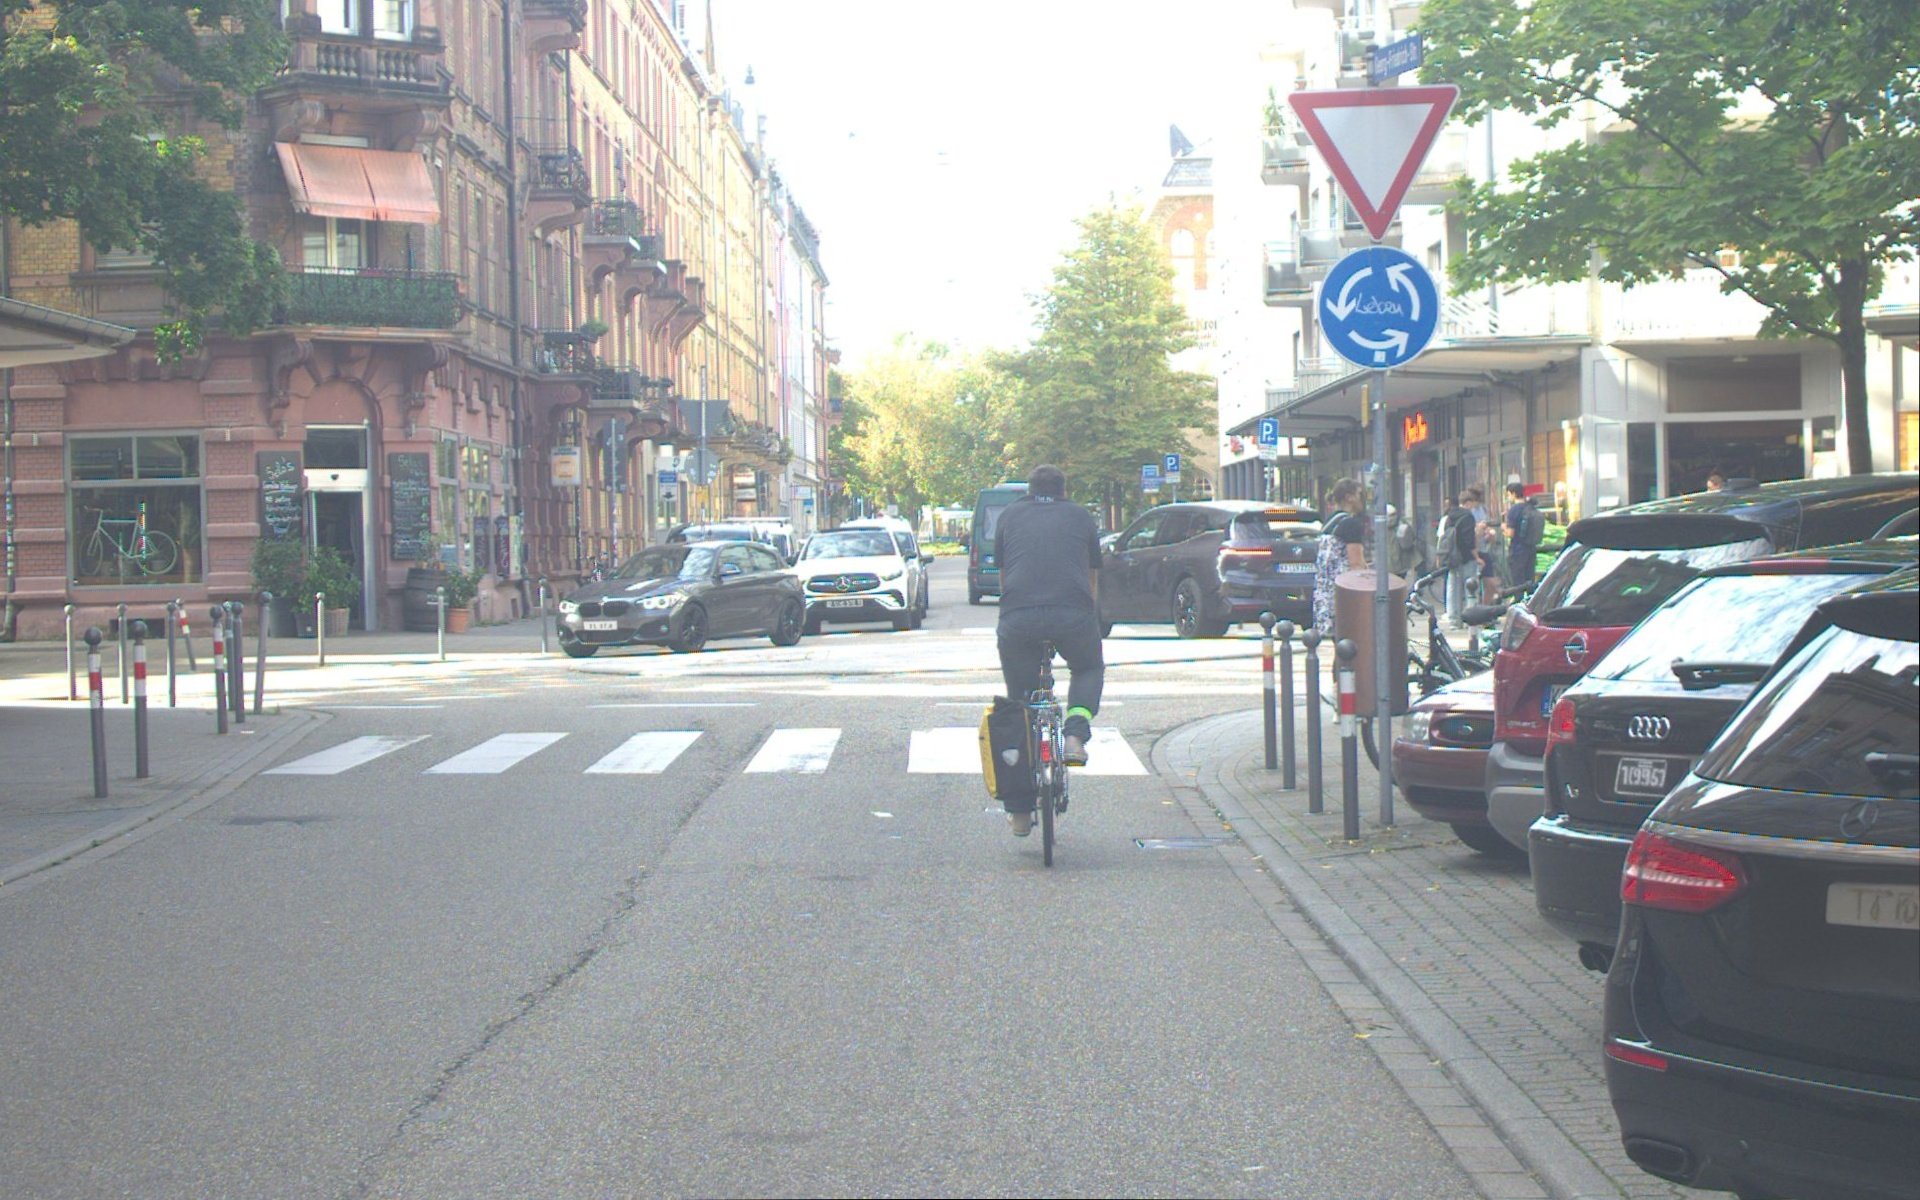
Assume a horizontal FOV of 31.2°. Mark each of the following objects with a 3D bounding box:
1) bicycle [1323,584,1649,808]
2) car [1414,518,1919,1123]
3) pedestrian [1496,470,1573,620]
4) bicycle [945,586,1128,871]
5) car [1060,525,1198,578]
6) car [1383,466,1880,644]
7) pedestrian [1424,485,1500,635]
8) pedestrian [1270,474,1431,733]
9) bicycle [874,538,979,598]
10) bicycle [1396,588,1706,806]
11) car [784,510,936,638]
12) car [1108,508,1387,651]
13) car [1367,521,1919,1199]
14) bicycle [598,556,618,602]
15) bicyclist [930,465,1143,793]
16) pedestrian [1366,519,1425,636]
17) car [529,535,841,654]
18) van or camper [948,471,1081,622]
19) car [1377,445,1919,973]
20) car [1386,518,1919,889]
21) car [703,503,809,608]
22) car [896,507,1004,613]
[{"bbox_3d":[2.641,0.473,17.472,0.548,1.036,1.857,-5,2,-29],"label":"bicycle"},{"bbox_3d":[3.753,0.469,10.124,4.400,1.452,1.943,-2,1,-24],"label":"car"},{"bbox_3d":[7.174,-0.692,42.934,0.869,1.845,0.612,-1,1,6],"label":"pedestrian"},{"bbox_3d":[0.385,0.540,15.894,0.666,1.174,2.497,0,1,5],"label":"bicycle"},{"bbox_3d":[5.104,-1.480,103.975,3.987,1.481,2.000,-2,1,-1],"label":"car"},{"bbox_3d":[7.139,-0.473,36.888,4.842,1.718,2.038,0,4,44],"label":"car"},{"bbox_3d":[6.288,-0.506,43.097,0.869,1.845,0.612,-1,1,6],"label":"pedestrian"},{"bbox_3d":[2.746,0.014,24.158,0.783,1.773,0.791,-1,1,39],"label":"pedestrian"},{"bbox_3d":[-0.590,-0.572,61.088,1.785,1.023,0.681,-2,1,-37],"label":"bicycle"},{"bbox_3d":[3.028,0.486,17.793,0.459,1.036,1.857,-5,2,-28],"label":"bicycle"},{"bbox_3d":[-1.497,-0.453,53.525,1.943,1.716,4.850,-3,3,3],"label":"car"},{"bbox_3d":[3.436,-0.274,41.823,1.993,1.612,4.001,-2,1,-17],"label":"car"},{"bbox_3d":[3.398,0.516,6.846,4.753,1.452,2.057,-4,3,-27],"label":"car"},{"bbox_3d":[-7.475,-0.459,72.984,0.360,0.944,1.716,0,1,-4],"label":"bicycle"},{"bbox_3d":[0.363,0.121,15.903,0.933,1.478,0.747,0,1,6],"label":"bicyclist"},{"bbox_3d":[6.198,-0.325,48.905,0.745,1.623,0.812,-1,1,12],"label":"pedestrian"},{"bbox_3d":[-3.413,-0.088,43.448,1.753,1.431,4.204,0,1,32],"label":"car"},{"bbox_3d":[1.110,-1.142,72.430,2.531,3.027,4.459,-1,1,-2],"label":"van or camper"},{"bbox_3d":[3.932,0.231,12.814,4.340,1.639,1.822,-4,2,-25],"label":"car"},{"bbox_3d":[4.062,0.366,15.448,3.931,1.452,1.770,-2,1,-27],"label":"car"},{"bbox_3d":[-4.121,-0.921,70.010,1.993,2.007,4.001,-2,1,-2],"label":"car"},{"bbox_3d":[-0.141,-0.754,63.078,1.793,1.784,4.736,-2,1,1],"label":"car"}]
